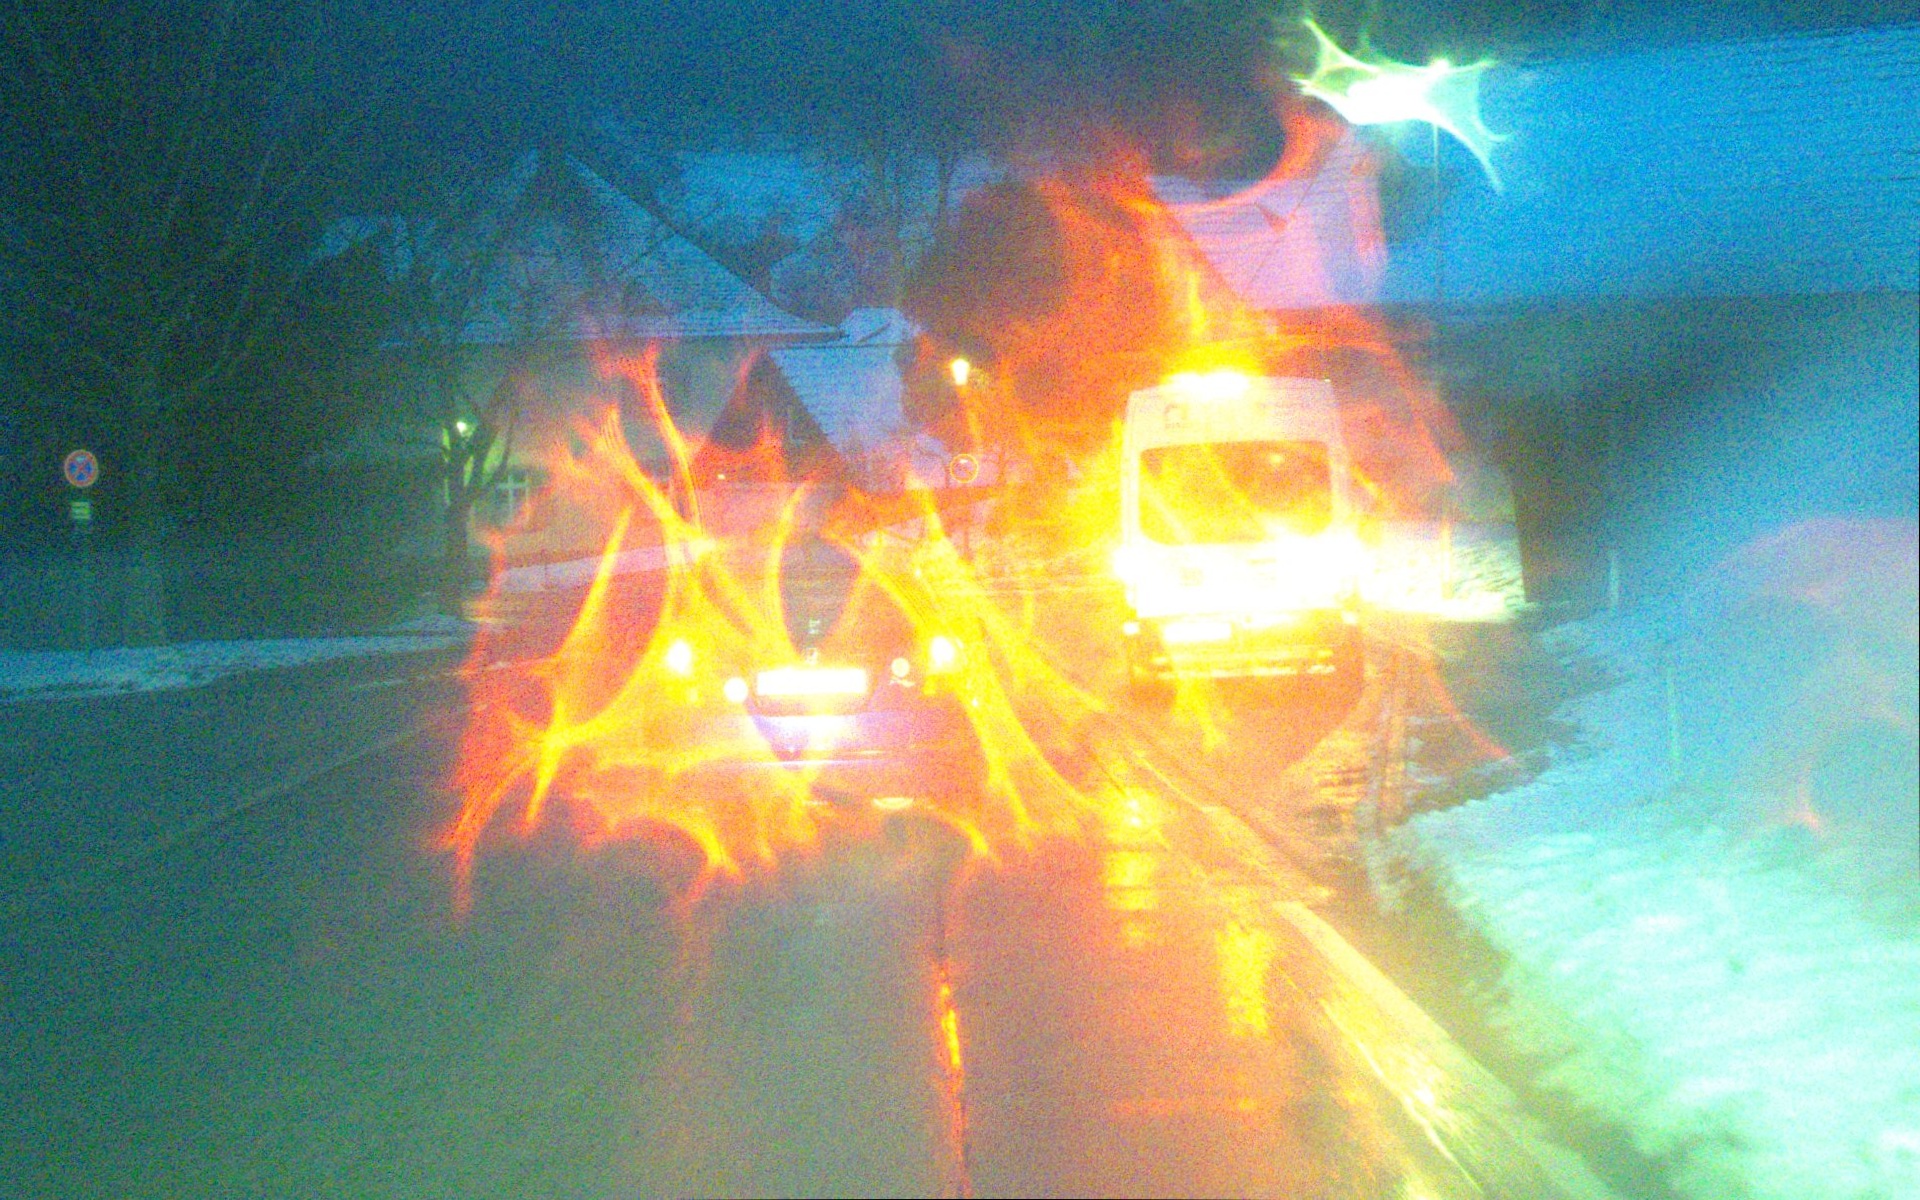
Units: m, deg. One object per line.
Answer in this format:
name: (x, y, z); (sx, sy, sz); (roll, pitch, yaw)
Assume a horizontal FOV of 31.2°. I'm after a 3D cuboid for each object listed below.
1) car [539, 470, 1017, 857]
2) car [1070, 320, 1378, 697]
car: (-0.947, 0.272, 19.009); (2.274, 1.834, 5.007); (-1, 1, -2)
car: (2.224, -0.741, 30.430); (2.435, 3.008, 5.325); (-1, 0, 2)
